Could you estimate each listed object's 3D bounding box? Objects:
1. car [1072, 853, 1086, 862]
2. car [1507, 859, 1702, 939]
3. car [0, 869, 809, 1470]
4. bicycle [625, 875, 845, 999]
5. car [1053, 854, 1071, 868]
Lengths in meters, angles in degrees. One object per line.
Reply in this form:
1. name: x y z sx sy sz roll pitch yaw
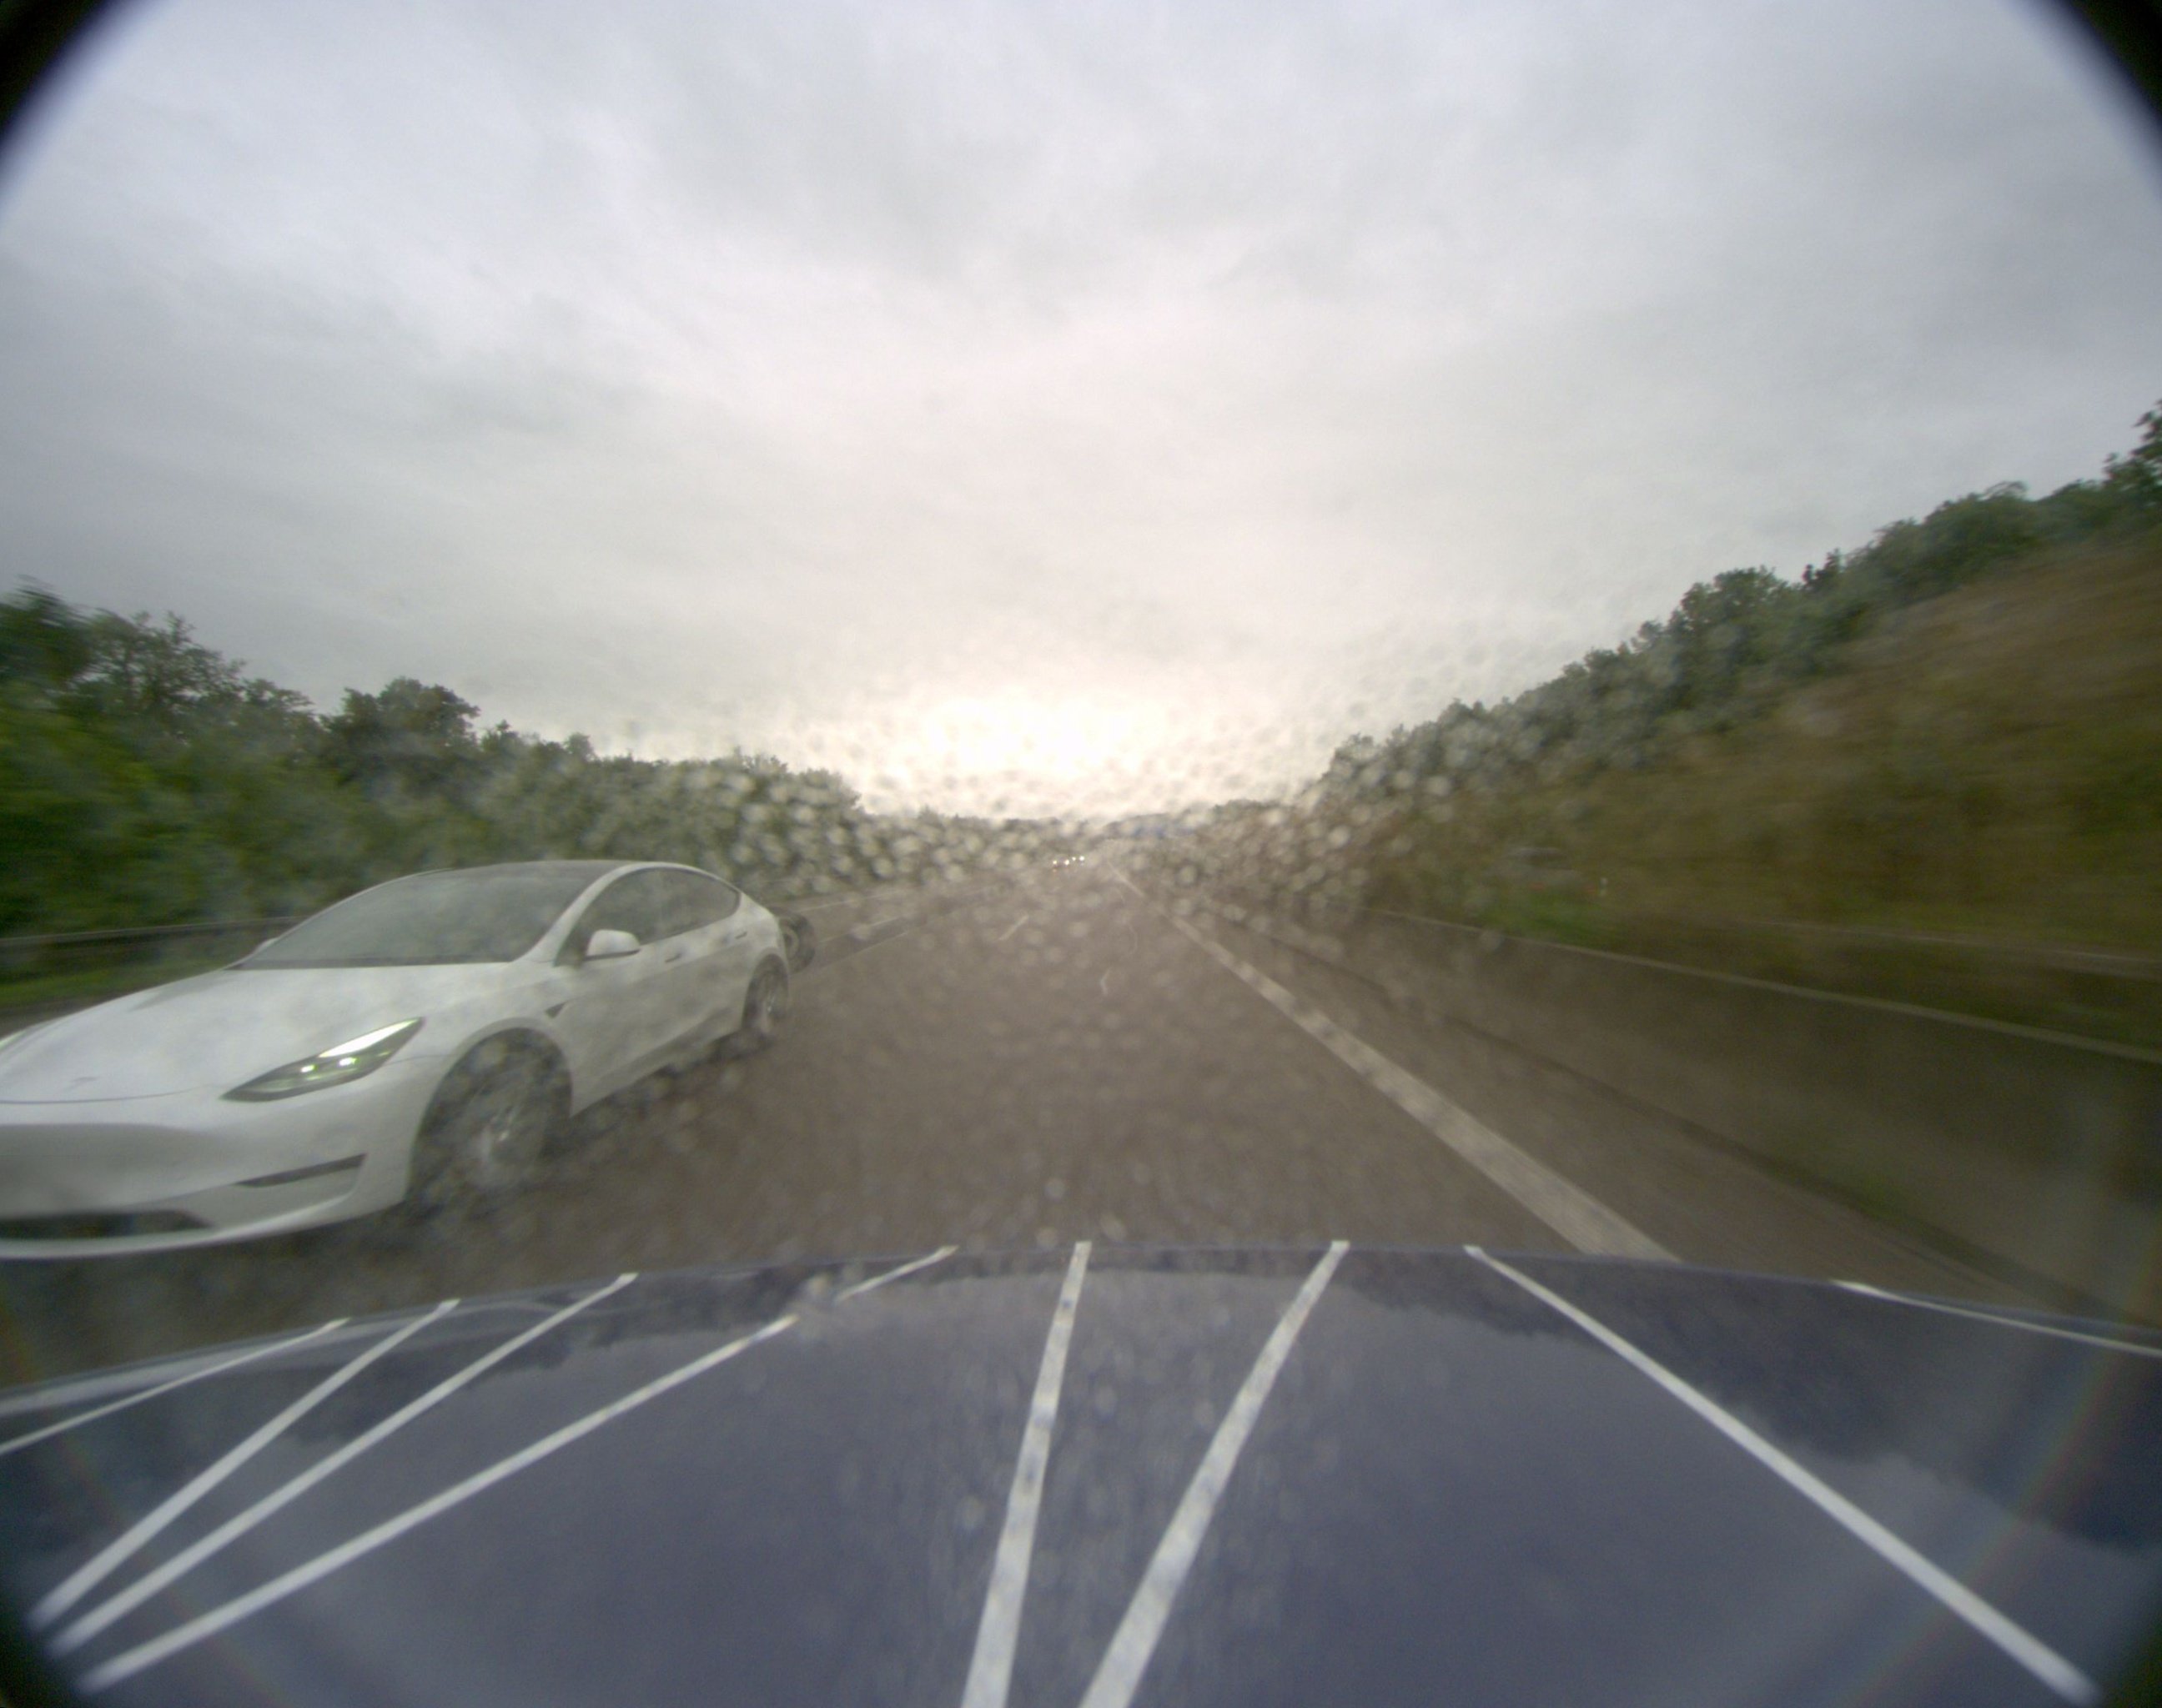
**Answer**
1. car: -0.360 0.610 140.994 2.008 1.456 4.001 0 2 6
2. car: 12.504 0.989 18.518 1.998 1.674 4.000 0 0 0
3. car: -3.510 0.967 4.629 1.865 1.559 4.963 -2 1 0
4. bicycle: -3.420 0.803 7.658 1.758 1.084 0.913 -1 2 0
5. car: -2.214 0.770 88.106 1.932 1.521 4.297 0 0 0
